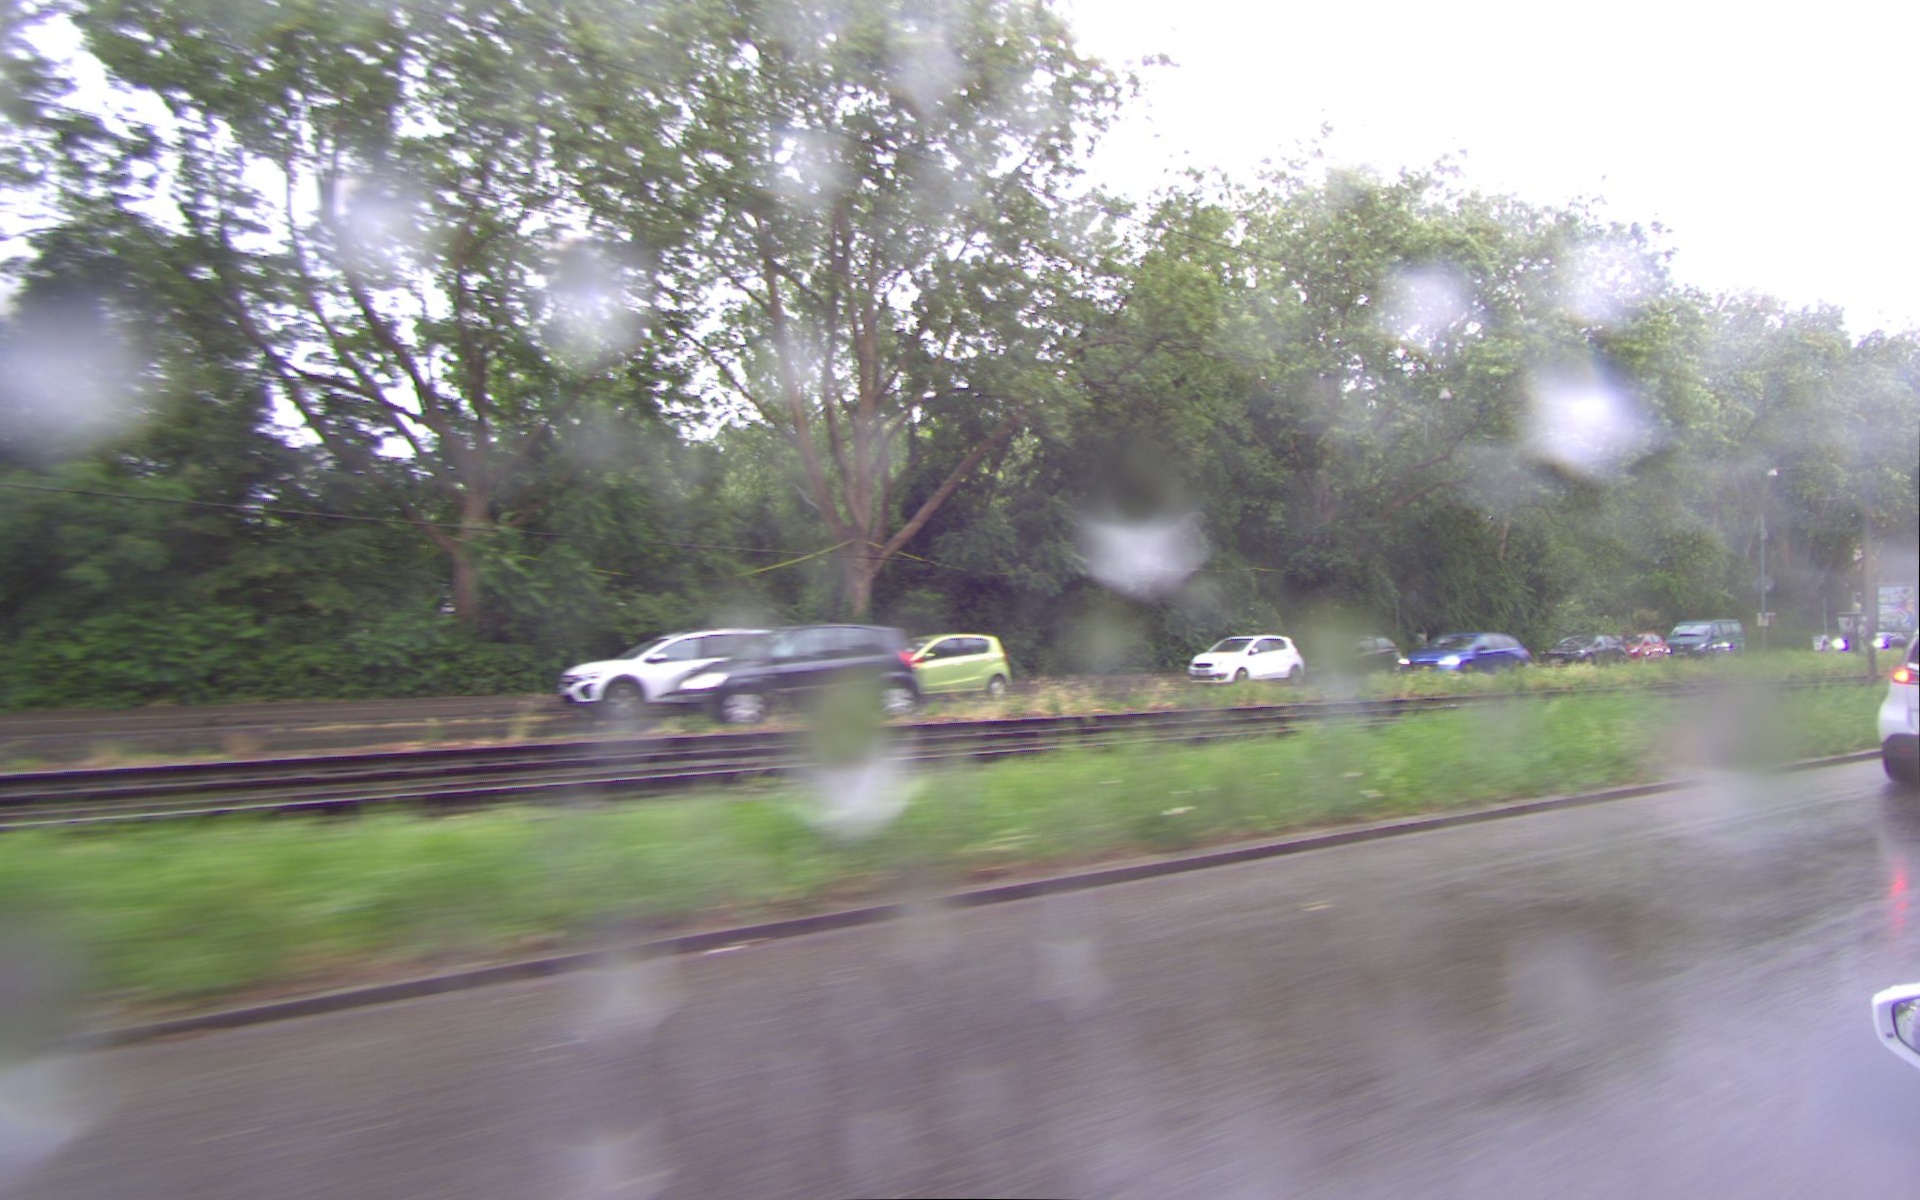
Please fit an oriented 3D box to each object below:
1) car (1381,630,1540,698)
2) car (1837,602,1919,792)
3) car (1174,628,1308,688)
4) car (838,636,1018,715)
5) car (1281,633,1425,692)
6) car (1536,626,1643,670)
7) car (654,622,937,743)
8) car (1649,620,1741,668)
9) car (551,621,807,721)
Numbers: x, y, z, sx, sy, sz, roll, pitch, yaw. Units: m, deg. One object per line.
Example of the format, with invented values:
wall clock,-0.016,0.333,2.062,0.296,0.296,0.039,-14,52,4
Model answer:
car,14.230,1.781,28.482,4.645,1.774,2.020,2,-3,-34
car,10.322,0.890,9.432,4.211,1.645,1.856,2,-1,-29
car,8.245,1.678,29.418,3.774,1.669,1.751,2,-3,-34
car,-0.694,1.664,22.877,3.774,1.669,1.751,2,-3,-34
car,12.639,1.969,32.219,4.645,1.774,2.020,2,-3,-34
car,25.603,1.940,40.830,4.562,1.679,2.019,2,-1,-34
car,-2.686,1.296,16.708,4.215,1.774,2.020,2,-3,-34
car,34.131,2.051,46.606,4.757,2.120,2.018,2,-3,-36
car,-5.366,1.323,19.449,4.484,1.750,1.740,2,-3,-34
